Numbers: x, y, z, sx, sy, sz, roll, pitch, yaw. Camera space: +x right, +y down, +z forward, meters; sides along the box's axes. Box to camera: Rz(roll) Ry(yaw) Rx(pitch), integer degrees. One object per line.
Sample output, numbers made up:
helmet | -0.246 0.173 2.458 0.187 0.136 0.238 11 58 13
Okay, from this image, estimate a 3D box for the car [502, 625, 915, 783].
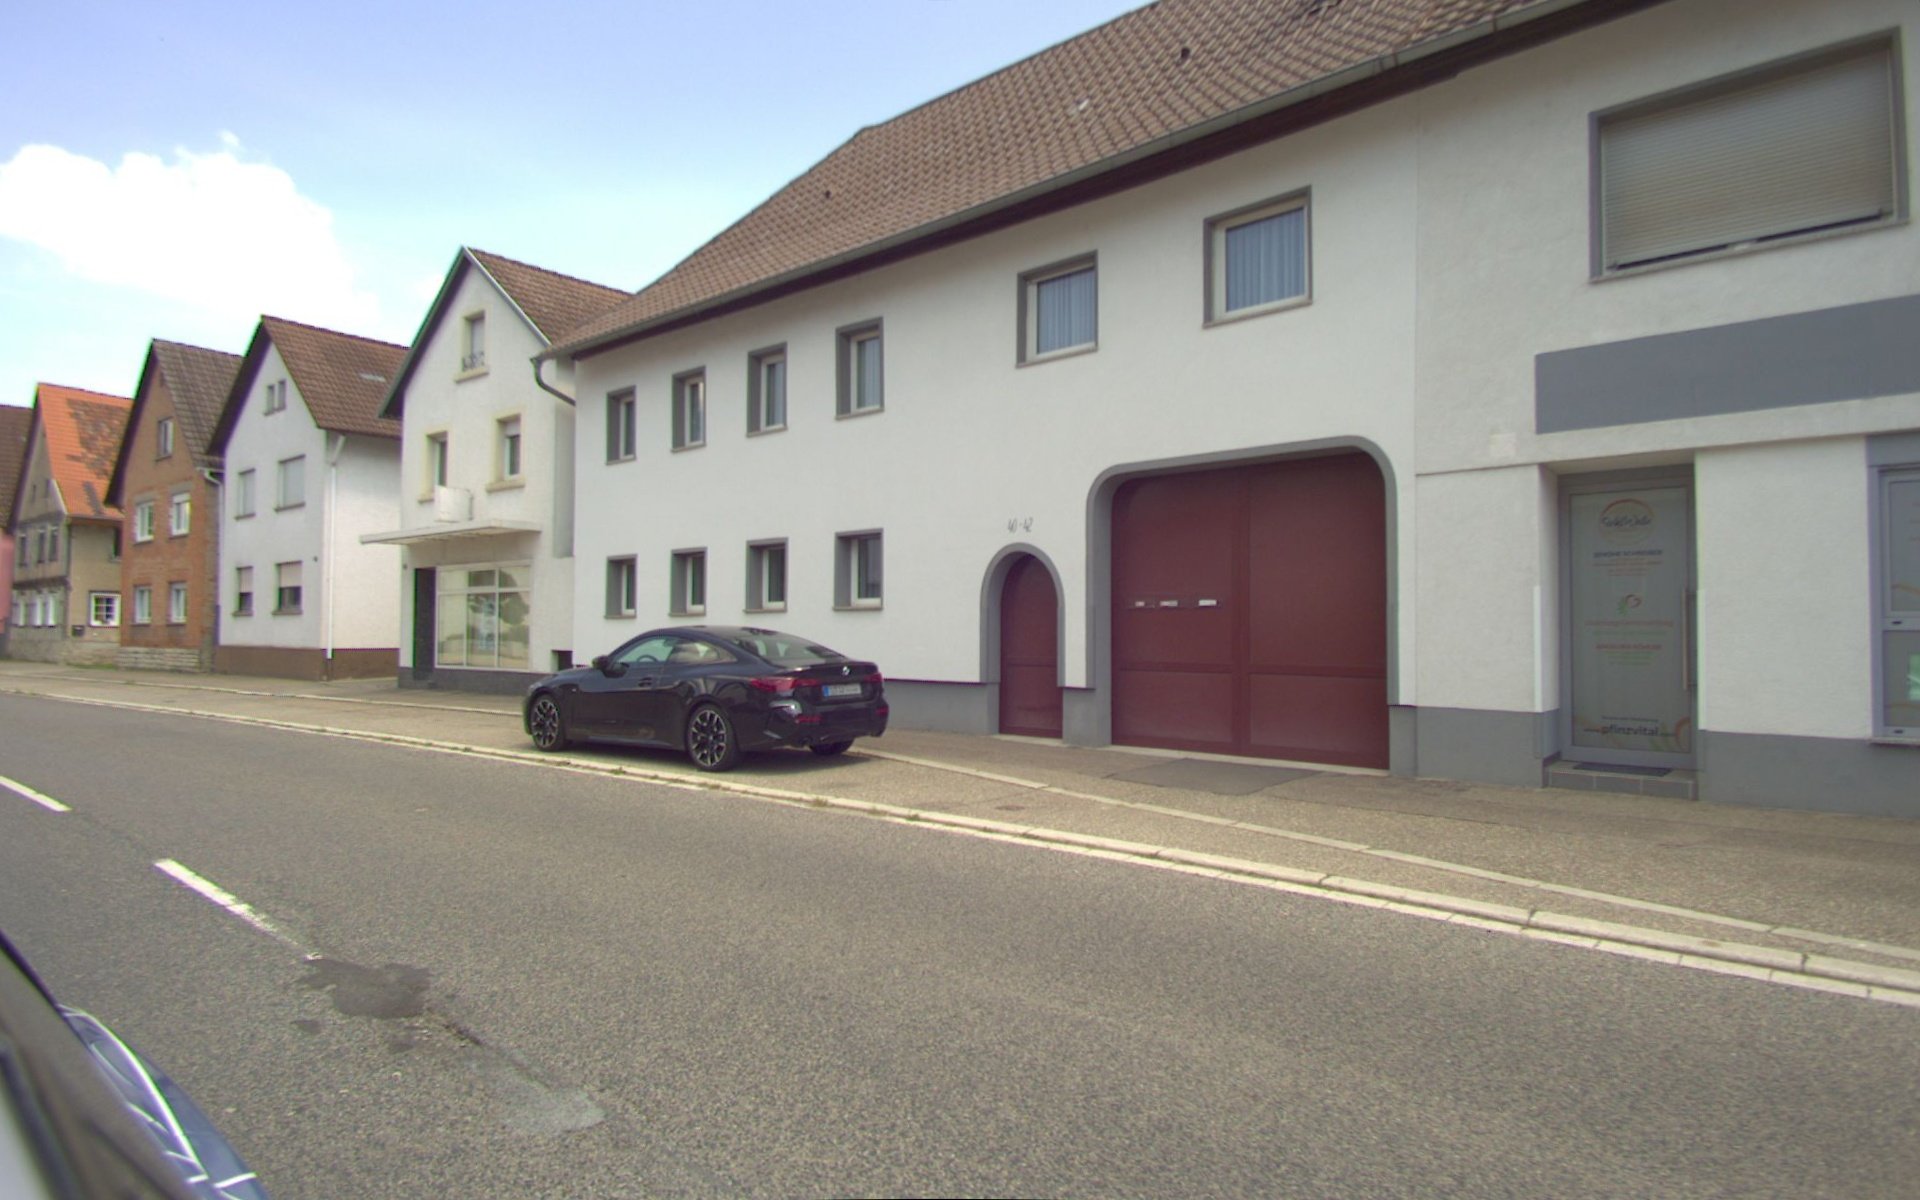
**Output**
car | -2.875 1.004 10.957 4.748 1.359 1.749 -2 -2 37
